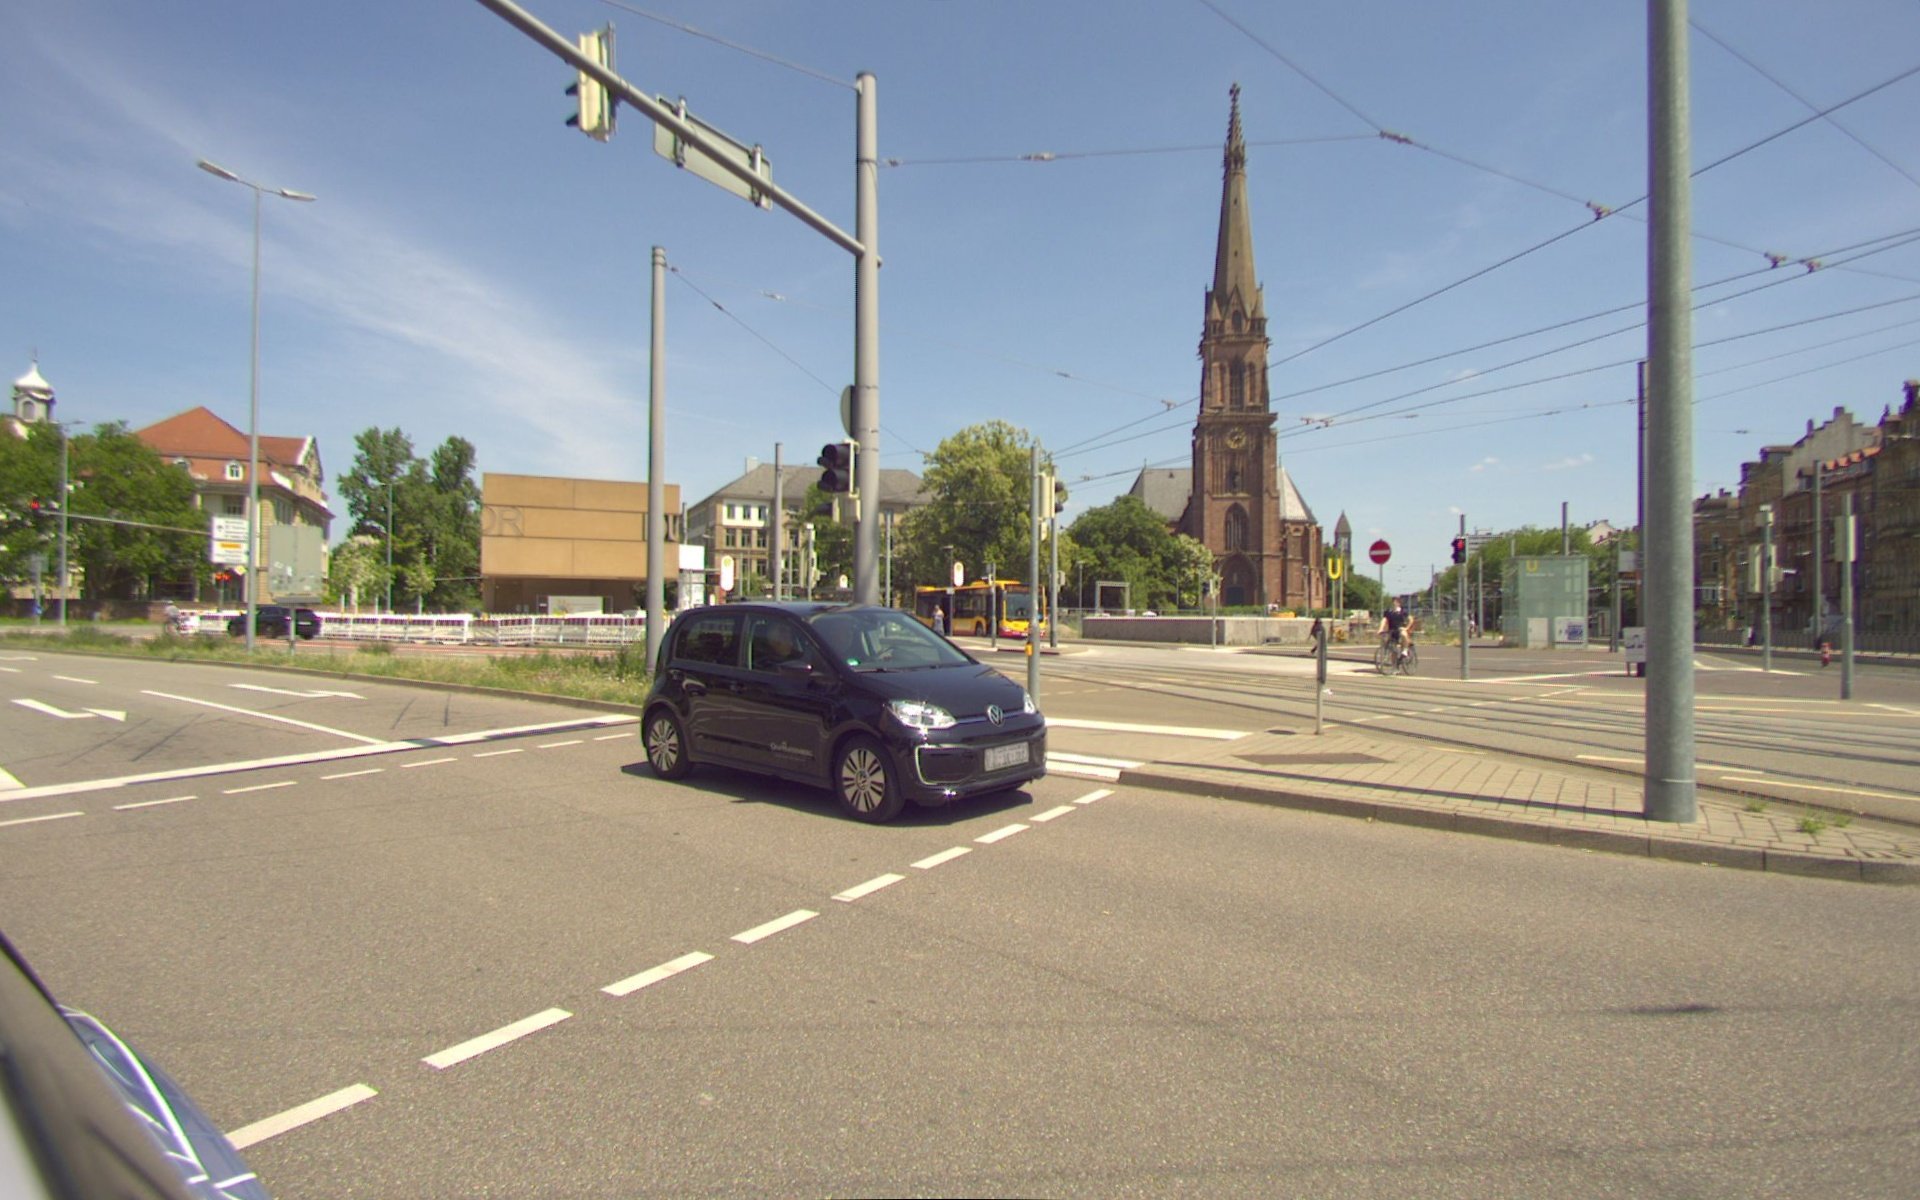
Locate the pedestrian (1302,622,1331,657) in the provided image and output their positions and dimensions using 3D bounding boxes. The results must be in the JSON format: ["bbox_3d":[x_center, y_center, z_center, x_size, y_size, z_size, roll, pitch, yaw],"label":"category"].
[{"bbox_3d":[13.873,1.525,39.389,0.518,1.344,1.001,1,-1,-19],"label":"pedestrian"}]

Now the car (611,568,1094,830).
[{"bbox_3d":[-0.978,0.632,8.025,3.735,1.588,1.726,-1,-2,40],"label":"car"}]

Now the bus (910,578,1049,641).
[{"bbox_3d":[0.725,0.574,55.388,2.807,3.039,12.260,1,-1,-23],"label":"bus"}]

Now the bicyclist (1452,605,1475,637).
[{"bbox_3d":[40.039,1.646,80.493,1.539,2.436,2.008,0,1,30],"label":"bicyclist"}]

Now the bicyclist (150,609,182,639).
[{"bbox_3d":[-36.677,1.109,46.741,1.431,1.366,0.582,0,1,24],"label":"bicyclist"}]

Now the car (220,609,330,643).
[{"bbox_3d":[-30.729,1.150,45.389,4.821,1.476,1.982,0,-1,27],"label":"car"}]

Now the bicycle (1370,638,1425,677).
[{"bbox_3d":[10.309,1.341,23.805,0.628,0.861,1.873,-1,-2,42],"label":"bicycle"}]

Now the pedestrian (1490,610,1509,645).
[{"bbox_3d":[28.822,1.480,54.082,0.673,1.827,1.126,0,-1,16],"label":"pedestrian"}]

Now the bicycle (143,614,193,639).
[{"bbox_3d":[-36.681,1.201,46.854,2.218,1.080,0.872,0,1,24],"label":"bicycle"}]

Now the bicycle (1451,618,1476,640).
[{"bbox_3d":[40.028,2.307,80.473,1.539,1.521,4.348,0,1,30],"label":"bicycle"}]

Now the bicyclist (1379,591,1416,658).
[{"bbox_3d":[10.314,0.559,23.829,0.438,1.541,1.236,0,1,42],"label":"bicyclist"}]
